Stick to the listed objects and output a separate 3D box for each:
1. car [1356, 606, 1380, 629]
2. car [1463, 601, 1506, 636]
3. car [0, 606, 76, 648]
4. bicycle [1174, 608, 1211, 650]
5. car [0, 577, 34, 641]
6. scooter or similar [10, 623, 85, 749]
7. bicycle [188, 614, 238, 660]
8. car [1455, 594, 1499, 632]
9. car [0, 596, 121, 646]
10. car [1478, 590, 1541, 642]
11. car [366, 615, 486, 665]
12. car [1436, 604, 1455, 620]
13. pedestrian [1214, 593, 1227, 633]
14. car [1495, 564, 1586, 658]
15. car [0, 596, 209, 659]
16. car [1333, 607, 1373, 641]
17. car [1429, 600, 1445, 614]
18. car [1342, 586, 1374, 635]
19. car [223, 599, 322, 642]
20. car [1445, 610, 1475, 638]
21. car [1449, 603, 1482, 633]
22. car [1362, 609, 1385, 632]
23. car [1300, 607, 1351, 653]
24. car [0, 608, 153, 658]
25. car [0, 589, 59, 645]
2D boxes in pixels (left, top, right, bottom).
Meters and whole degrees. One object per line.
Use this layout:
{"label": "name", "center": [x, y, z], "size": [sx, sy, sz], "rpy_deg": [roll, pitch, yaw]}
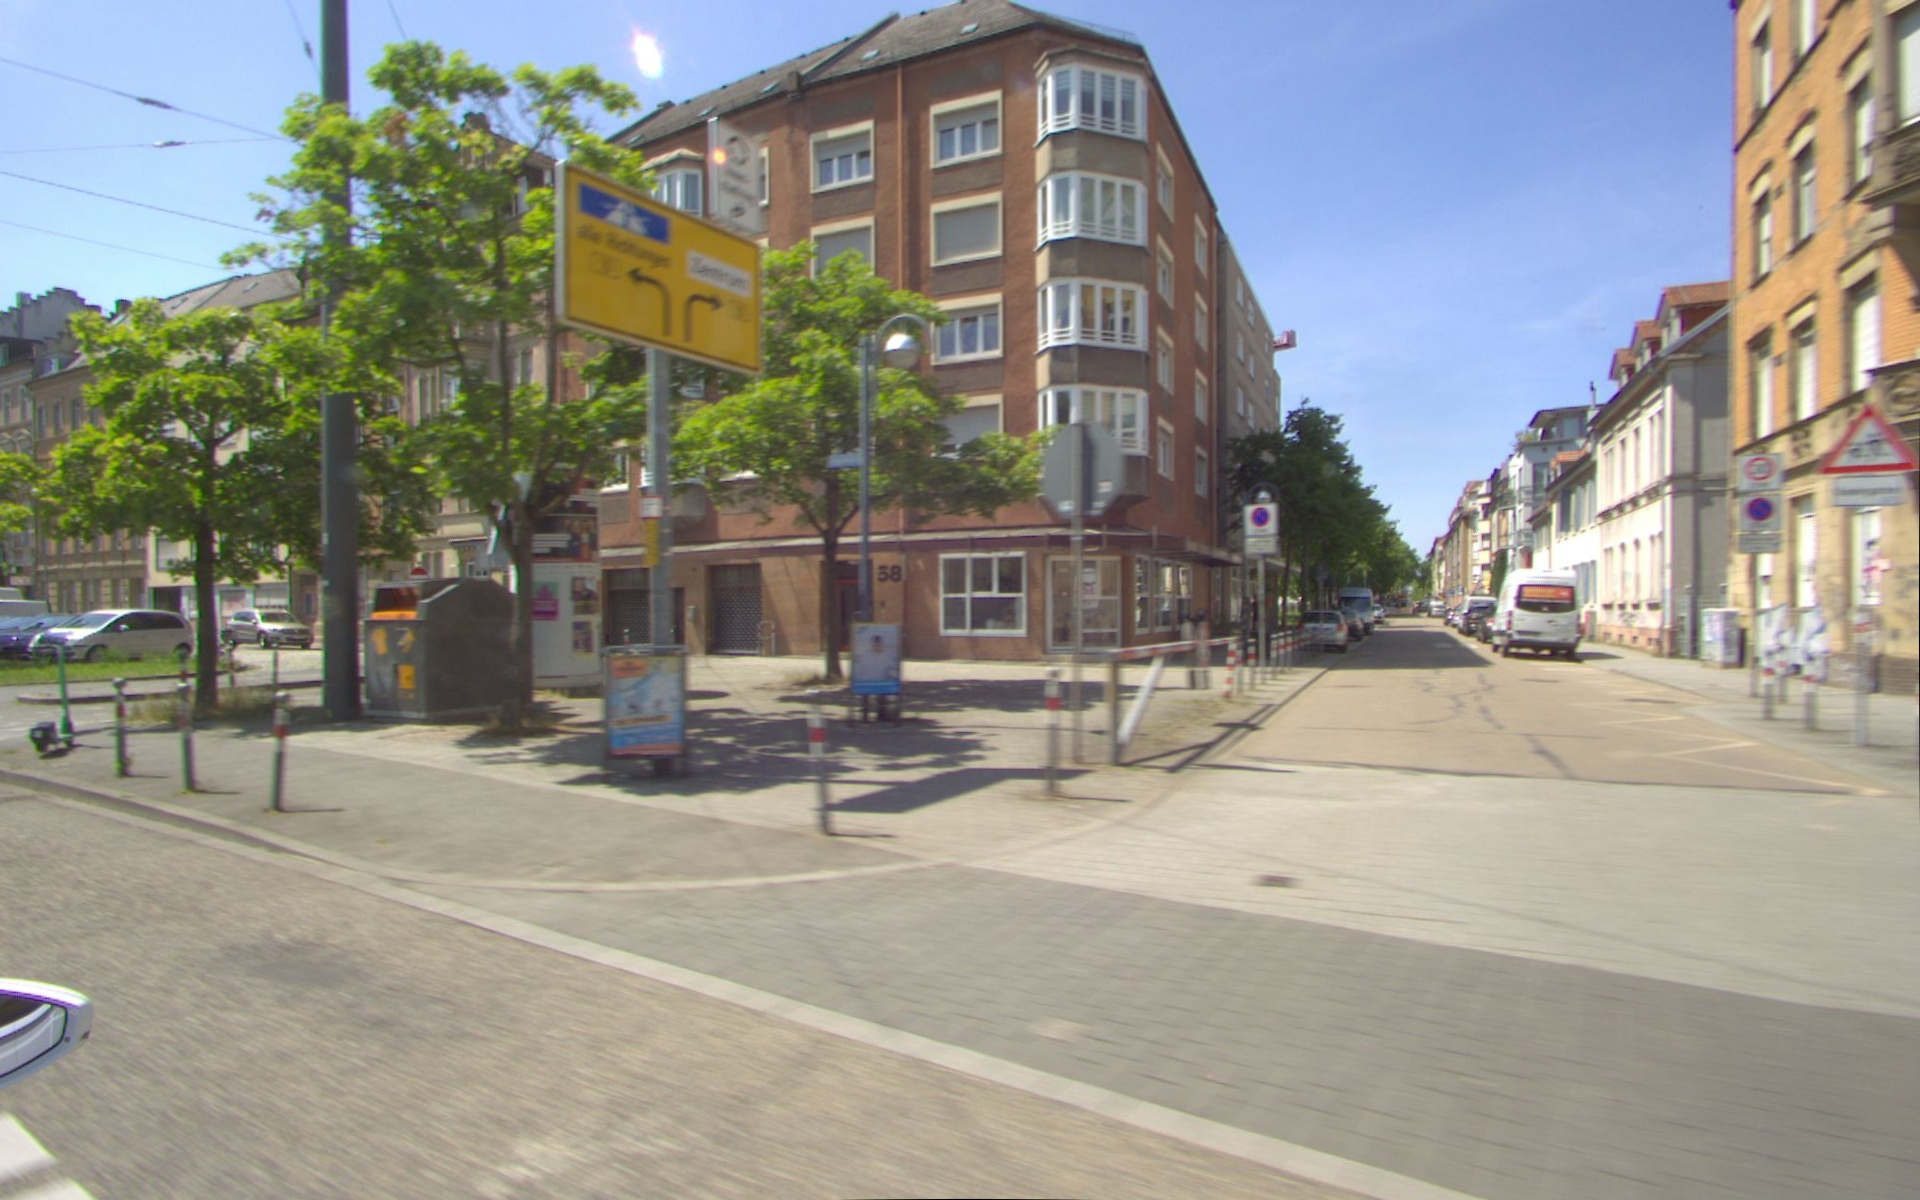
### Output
{"label": "car", "center": [34.412, 1.506, 84.408], "size": [1.793, 1.839, 3.990], "rpy_deg": [0, -2, 23]}
{"label": "car", "center": [26.577, 0.958, 50.785], "size": [1.807, 1.705, 3.987], "rpy_deg": [0, -2, 26]}
{"label": "car", "center": [-32.381, 0.899, 33.482], "size": [1.789, 1.404, 4.000], "rpy_deg": [0, -2, 9]}
{"label": "bicycle", "center": [7.585, 0.937, 32.556], "size": [0.694, 1.303, 2.716], "rpy_deg": [0, -2, 23]}
{"label": "car", "center": [-38.045, 0.300, 37.356], "size": [2.195, 2.492, 5.552], "rpy_deg": [1, -2, -6]}
{"label": "scooter or similar", "center": [-9.944, 0.904, 10.939], "size": [0.386, 1.231, 1.171], "rpy_deg": [-4, 4, -35]}
{"label": "bicycle", "center": [-20.787, 1.021, 27.900], "size": [0.730, 1.208, 2.350], "rpy_deg": [1, -2, -28]}
{"label": "car", "center": [28.879, 0.769, 56.019], "size": [1.967, 2.061, 4.815], "rpy_deg": [0, -2, 25]}
{"label": "car", "center": [-29.766, 0.674, 31.878], "size": [1.927, 1.516, 4.634], "rpy_deg": [0, -2, 6]}
{"label": "car", "center": [23.103, 0.713, 42.247], "size": [1.967, 2.061, 4.815], "rpy_deg": [0, -2, 25]}
{"label": "car", "center": [-18.589, 1.348, 34.801], "size": [4.541, 1.621, 1.987], "rpy_deg": [-1, -2, 38]}
{"label": "car", "center": [55.837, 1.424, 115.243], "size": [1.814, 1.761, 3.688], "rpy_deg": [0, -2, 24]}
{"label": "pedestrian", "center": [11.261, 0.576, 43.261], "size": [0.482, 1.709, 0.469], "rpy_deg": [0, -1, 24]}
{"label": "car", "center": [17.873, 0.391, 31.049], "size": [1.967, 2.655, 5.204], "rpy_deg": [0, -2, 25]}
{"label": "car", "center": [-24.422, 0.799, 28.787], "size": [1.961, 1.653, 4.413], "rpy_deg": [0, -2, 8]}
{"label": "car", "center": [18.001, 1.112, 45.915], "size": [1.633, 1.512, 3.825], "rpy_deg": [0, -2, 22]}
{"label": "car", "center": [60.239, 0.905, 126.515], "size": [1.814, 1.761, 3.688], "rpy_deg": [0, -2, 24]}
{"label": "car", "center": [22.596, 0.618, 56.877], "size": [1.633, 2.673, 3.825], "rpy_deg": [0, -1, 22]}
{"label": "car", "center": [-28.521, 0.853, 41.537], "size": [3.939, 1.705, 1.818], "rpy_deg": [0, -2, 29]}
{"label": "car", "center": [39.171, 1.896, 78.584], "size": [1.967, 2.061, 4.815], "rpy_deg": [0, -2, 25]}
{"label": "car", "center": [36.280, 1.311, 71.928], "size": [1.967, 2.061, 4.815], "rpy_deg": [0, -2, 25]}
{"label": "car", "center": [28.418, 1.434, 68.842], "size": [1.381, 1.584, 3.114], "rpy_deg": [0, -2, 22]}
{"label": "car", "center": [12.926, 1.048, 35.319], "size": [1.583, 1.538, 3.825], "rpy_deg": [0, -2, 22]}
{"label": "car", "center": [-27.007, 0.990, 30.187], "size": [1.789, 1.417, 4.000], "rpy_deg": [0, -2, 9]}
{"label": "car", "center": [-35.148, 0.605, 35.449], "size": [2.036, 1.998, 4.850], "rpy_deg": [0, -2, 1]}
